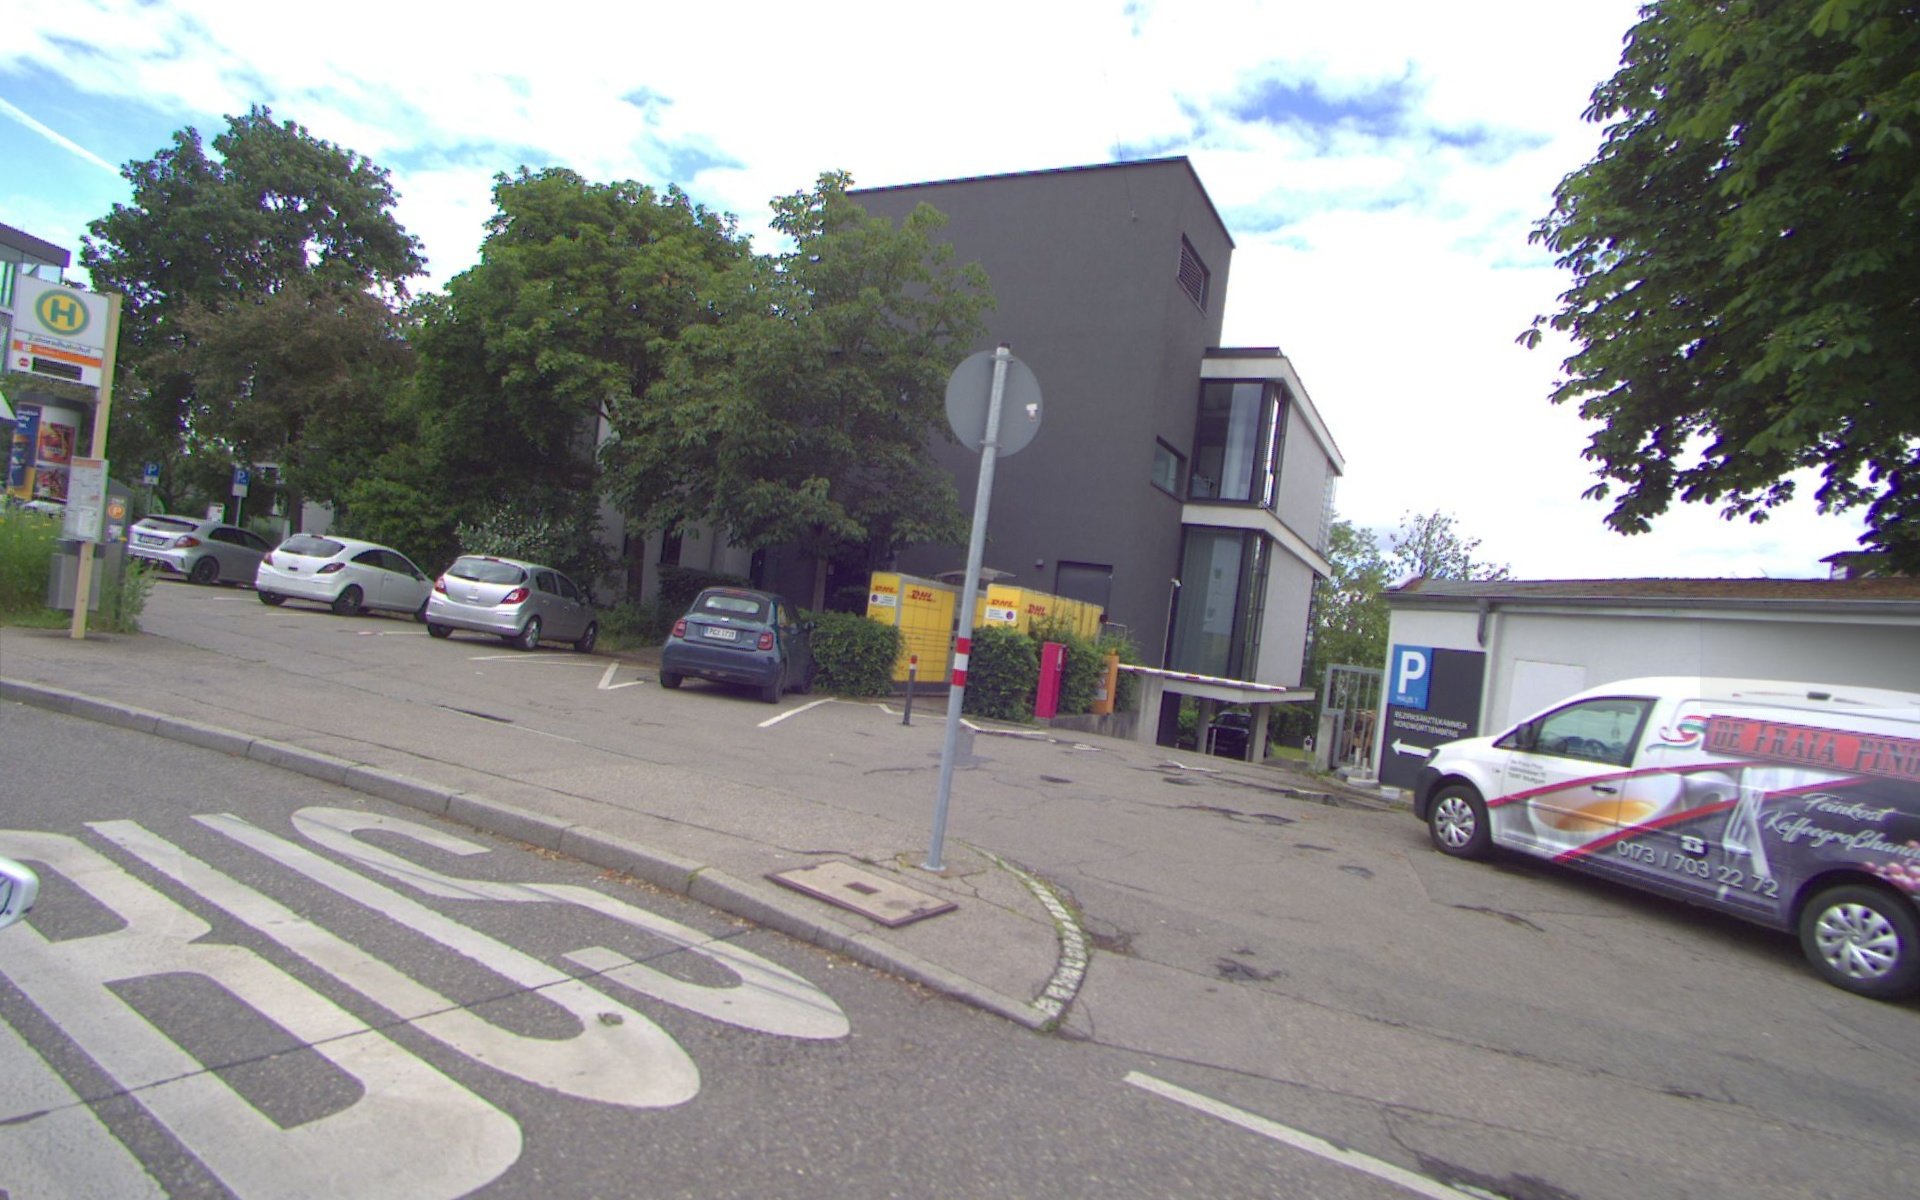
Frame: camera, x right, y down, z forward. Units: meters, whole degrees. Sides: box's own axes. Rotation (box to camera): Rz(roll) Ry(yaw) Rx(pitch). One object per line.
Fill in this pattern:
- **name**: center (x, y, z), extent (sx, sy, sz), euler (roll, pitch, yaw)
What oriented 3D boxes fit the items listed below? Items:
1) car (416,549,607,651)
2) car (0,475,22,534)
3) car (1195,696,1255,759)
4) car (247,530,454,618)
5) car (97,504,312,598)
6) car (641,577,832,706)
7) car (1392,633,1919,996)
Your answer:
- **car**: center (-7.706, 0.023, 17.666), extent (1.519, 1.394, 3.517), euler (9, 0, 2)
- **car**: center (-33.354, -3.354, 33.487), extent (4.444, 1.861, 1.995), euler (6, 0, 32)
- **car**: center (9.160, 4.314, 34.574), extent (1.704, 1.728, 4.004), euler (7, -2, 17)
- **car**: center (-11.980, -0.459, 20.057), extent (1.561, 1.453, 3.650), euler (6, 0, 5)
- **car**: center (-17.059, -1.037, 22.988), extent (1.765, 1.489, 3.809), euler (7, -3, 2)
- **car**: center (-3.246, 0.612, 15.473), extent (1.845, 1.494, 4.002), euler (7, -1, 1)
- **car**: center (5.744, 1.386, 7.443), extent (1.825, 1.770, 4.674), euler (8, 0, -20)
